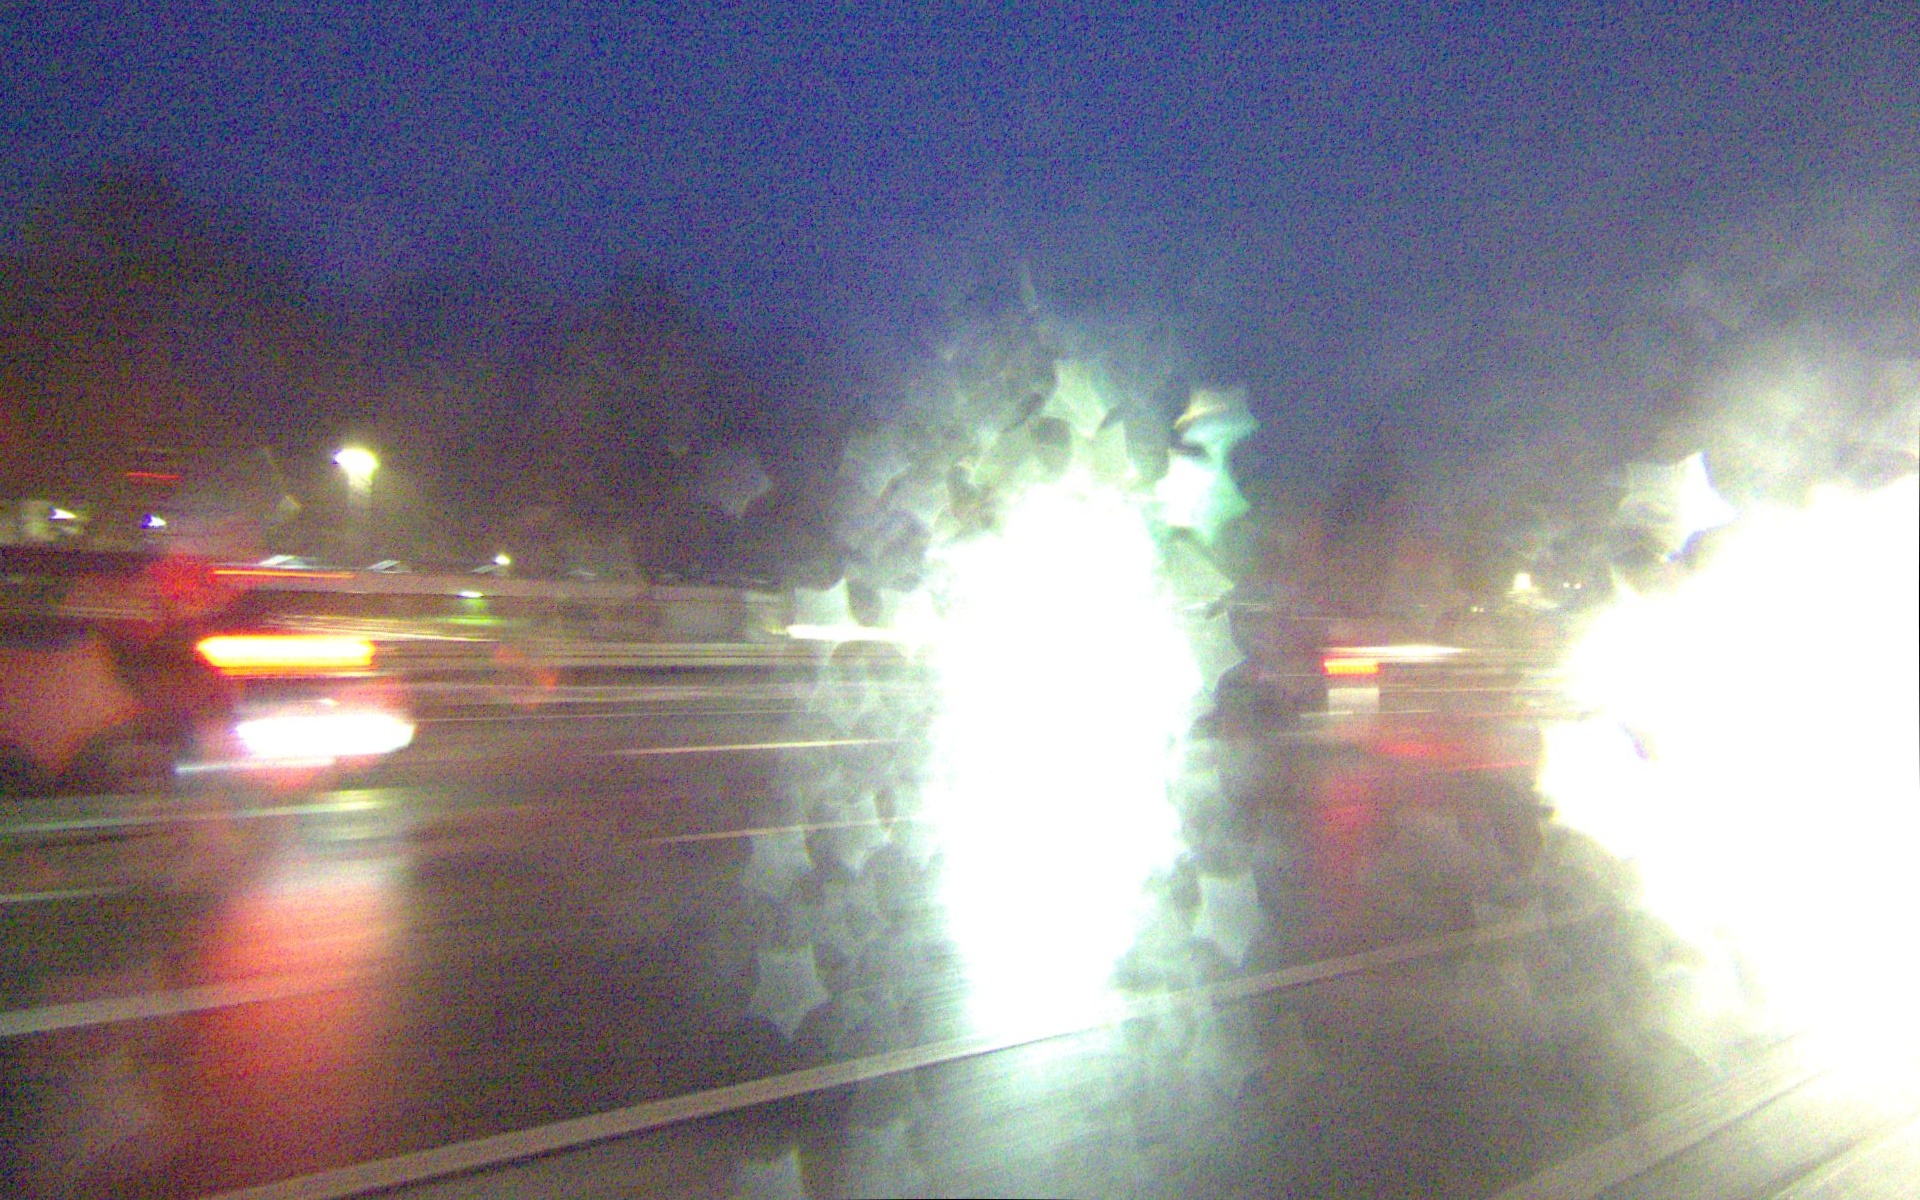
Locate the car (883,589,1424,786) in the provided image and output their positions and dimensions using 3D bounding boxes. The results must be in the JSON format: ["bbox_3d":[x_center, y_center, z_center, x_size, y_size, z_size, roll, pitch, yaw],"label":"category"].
[{"bbox_3d":[2.016,0.752,10.195,5.136,1.579,2.174,2,0,-27],"label":"car"}]

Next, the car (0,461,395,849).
[{"bbox_3d":[-6.200,0.250,5.871,4.933,2.040,2.145,2,0,-28],"label":"car"}]

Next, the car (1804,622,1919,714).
[{"bbox_3d":[18.575,1.256,19.156,4.835,1.563,2.076,2,0,-27],"label":"car"}]
